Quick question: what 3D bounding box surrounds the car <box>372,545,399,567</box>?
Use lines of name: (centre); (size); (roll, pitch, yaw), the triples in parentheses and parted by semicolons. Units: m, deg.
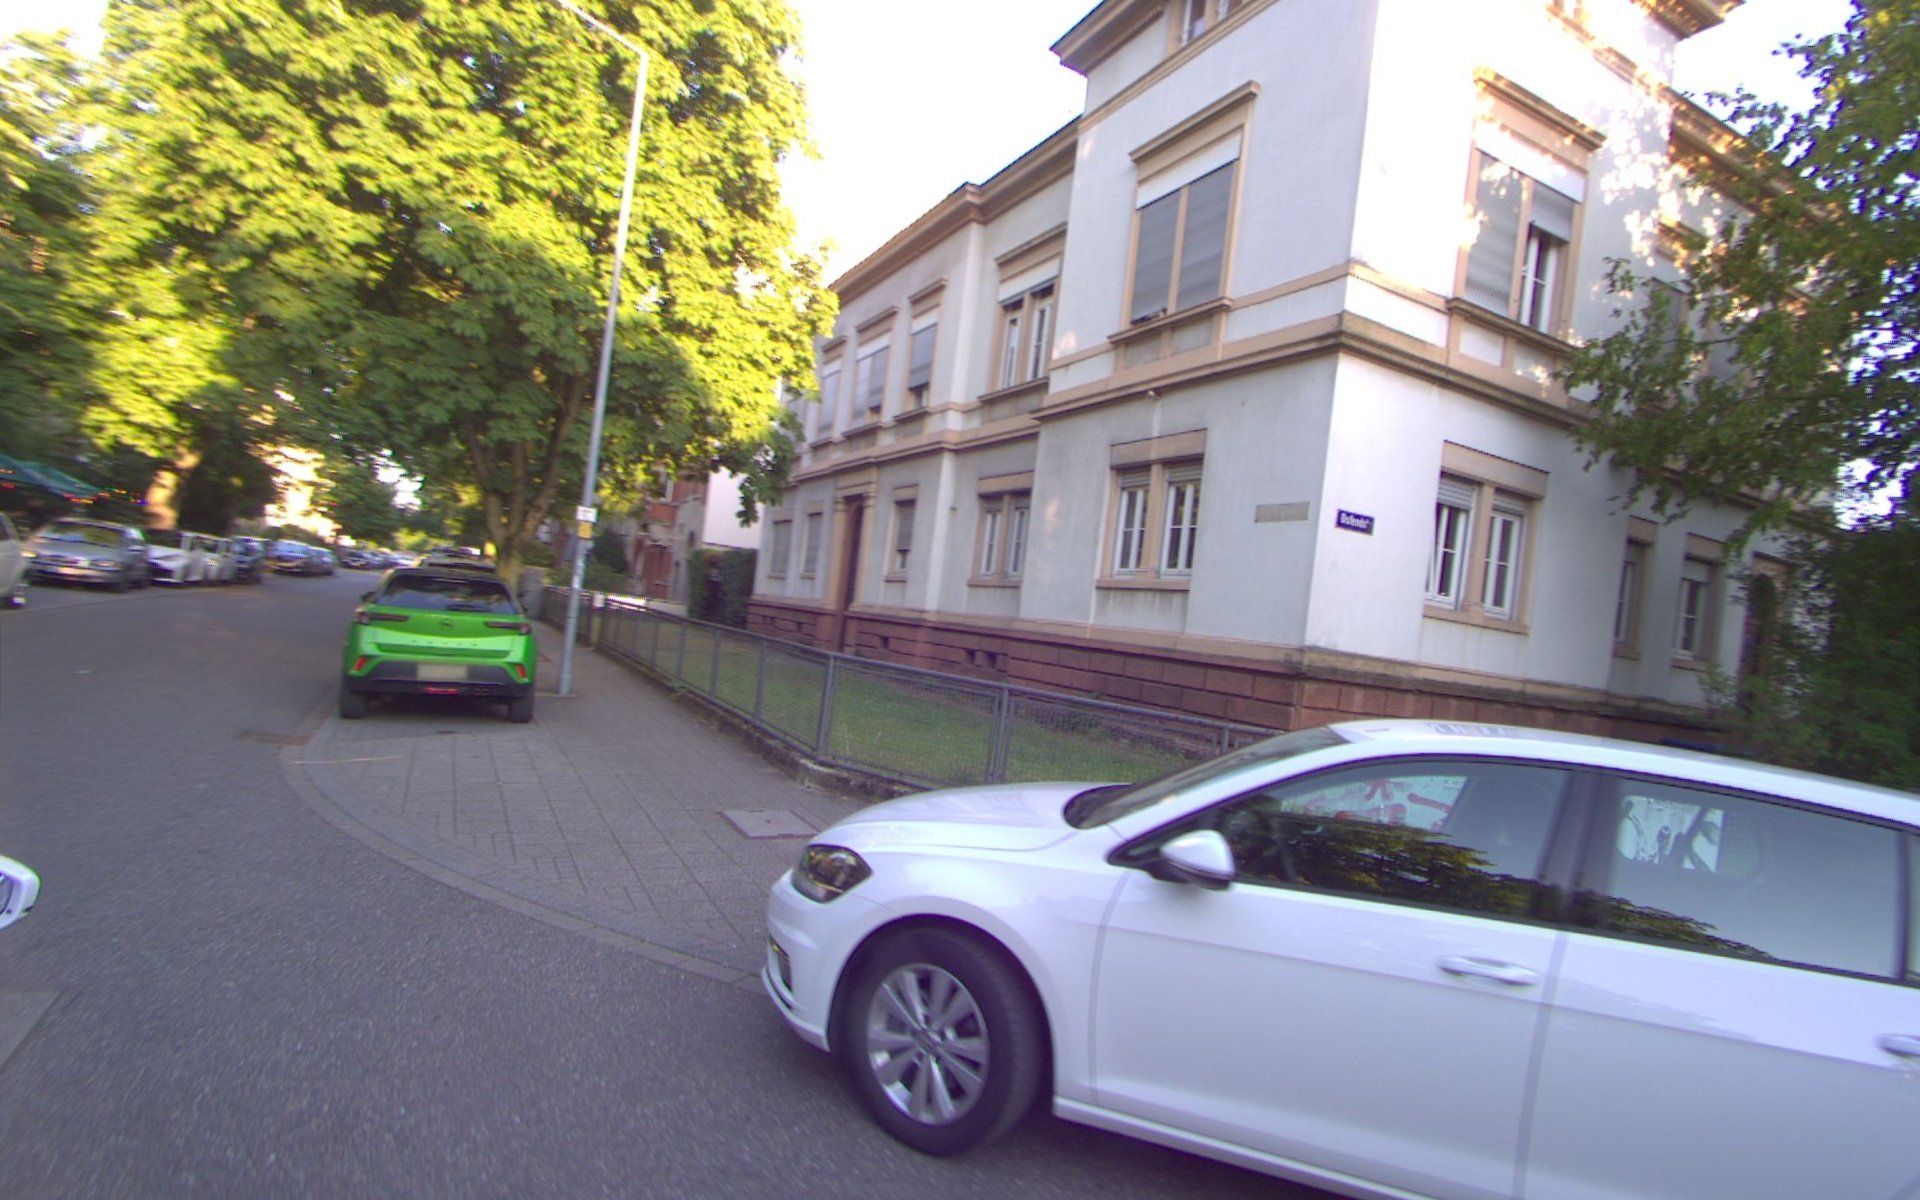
car: (-56.079, -4.289, 98.240); (1.906, 1.737, 4.398); (8, -1, -27)

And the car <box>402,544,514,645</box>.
car: (-10.146, -0.178, 20.191); (1.651, 1.700, 4.087); (5, 1, -30)

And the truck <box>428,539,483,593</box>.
truck: (-23.949, -1.669, 47.675); (1.938, 2.275, 4.608); (5, 1, -30)

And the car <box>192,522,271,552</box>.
car: (-51.420, -4.421, 71.039); (4.048, 1.464, 1.702); (9, 0, -18)

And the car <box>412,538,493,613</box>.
car: (-16.453, -0.854, 32.483); (1.938, 2.085, 4.792); (5, 1, -30)

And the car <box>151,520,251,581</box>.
car: (-23.333, -1.508, 31.053); (1.539, 1.502, 3.671); (11, -2, -25)

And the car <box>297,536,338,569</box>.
car: (-35.387, -2.613, 55.485); (1.542, 1.497, 3.664); (11, -2, -30)

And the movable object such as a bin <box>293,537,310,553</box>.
movable object such as a bin: (-65.767, -5.490, 100.511); (1.093, 1.430, 0.993); (10, -1, -41)

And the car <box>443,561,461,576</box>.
car: (-55.519, -3.454, 109.923); (1.672, 1.459, 4.182); (6, -1, -27)

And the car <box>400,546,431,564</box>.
car: (-92.091, -7.547, 170.267); (4.317, 2.345, 1.733); (9, -1, -29)

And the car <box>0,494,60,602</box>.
car: (-14.403, -0.857, 14.071); (1.652, 1.509, 3.684); (11, -2, -28)

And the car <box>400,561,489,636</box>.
car: (-12.662, -0.088, 24.620); (1.651, 1.519, 3.664); (5, 1, -30)

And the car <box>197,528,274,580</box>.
car: (-24.587, -1.570, 34.238); (1.539, 1.503, 3.667); (7, -1, -28)

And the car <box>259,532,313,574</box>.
car: (-31.797, -2.242, 47.578); (1.680, 1.581, 4.366); (11, -2, -31)

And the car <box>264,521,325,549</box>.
car: (-57.839, -5.610, 87.468); (4.065, 1.543, 1.697); (12, -3, -28)

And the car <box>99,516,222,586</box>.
car: (-21.183, -1.291, 26.803); (1.591, 1.451, 3.860); (11, -2, -26)

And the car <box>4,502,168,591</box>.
car: (-18.820, -1.176, 21.891); (1.830, 1.427, 4.561); (11, -2, -32)

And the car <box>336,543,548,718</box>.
car: (-5.849, 0.232, 11.400); (1.716, 1.577, 3.934); (5, 1, -28)

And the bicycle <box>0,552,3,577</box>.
bicycle: (-9.838, -0.037, 8.973); (0.528, 1.045, 1.909); (6, -2, 7)

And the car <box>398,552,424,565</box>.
car: (-91.434, -6.907, 167.643); (3.594, 1.478, 1.594); (9, -1, -31)

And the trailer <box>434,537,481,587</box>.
trailer: (-26.257, -1.970, 52.556); (1.936, 2.325, 4.613); (5, 0, -27)

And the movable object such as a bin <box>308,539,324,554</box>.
movable object such as a bin: (-64.760, -5.347, 101.224); (1.003, 1.336, 1.000); (10, -1, -22)

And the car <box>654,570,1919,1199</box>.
car: (1.356, 1.010, 3.343); (4.094, 1.517, 1.815); (8, -3, 19)

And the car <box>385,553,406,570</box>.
car: (-62.232, -4.260, 110.935); (1.701, 1.585, 3.763); (8, -1, -27)

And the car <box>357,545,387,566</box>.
car: (-48.833, -3.667, 83.610); (1.602, 1.488, 3.938); (8, -1, -24)
